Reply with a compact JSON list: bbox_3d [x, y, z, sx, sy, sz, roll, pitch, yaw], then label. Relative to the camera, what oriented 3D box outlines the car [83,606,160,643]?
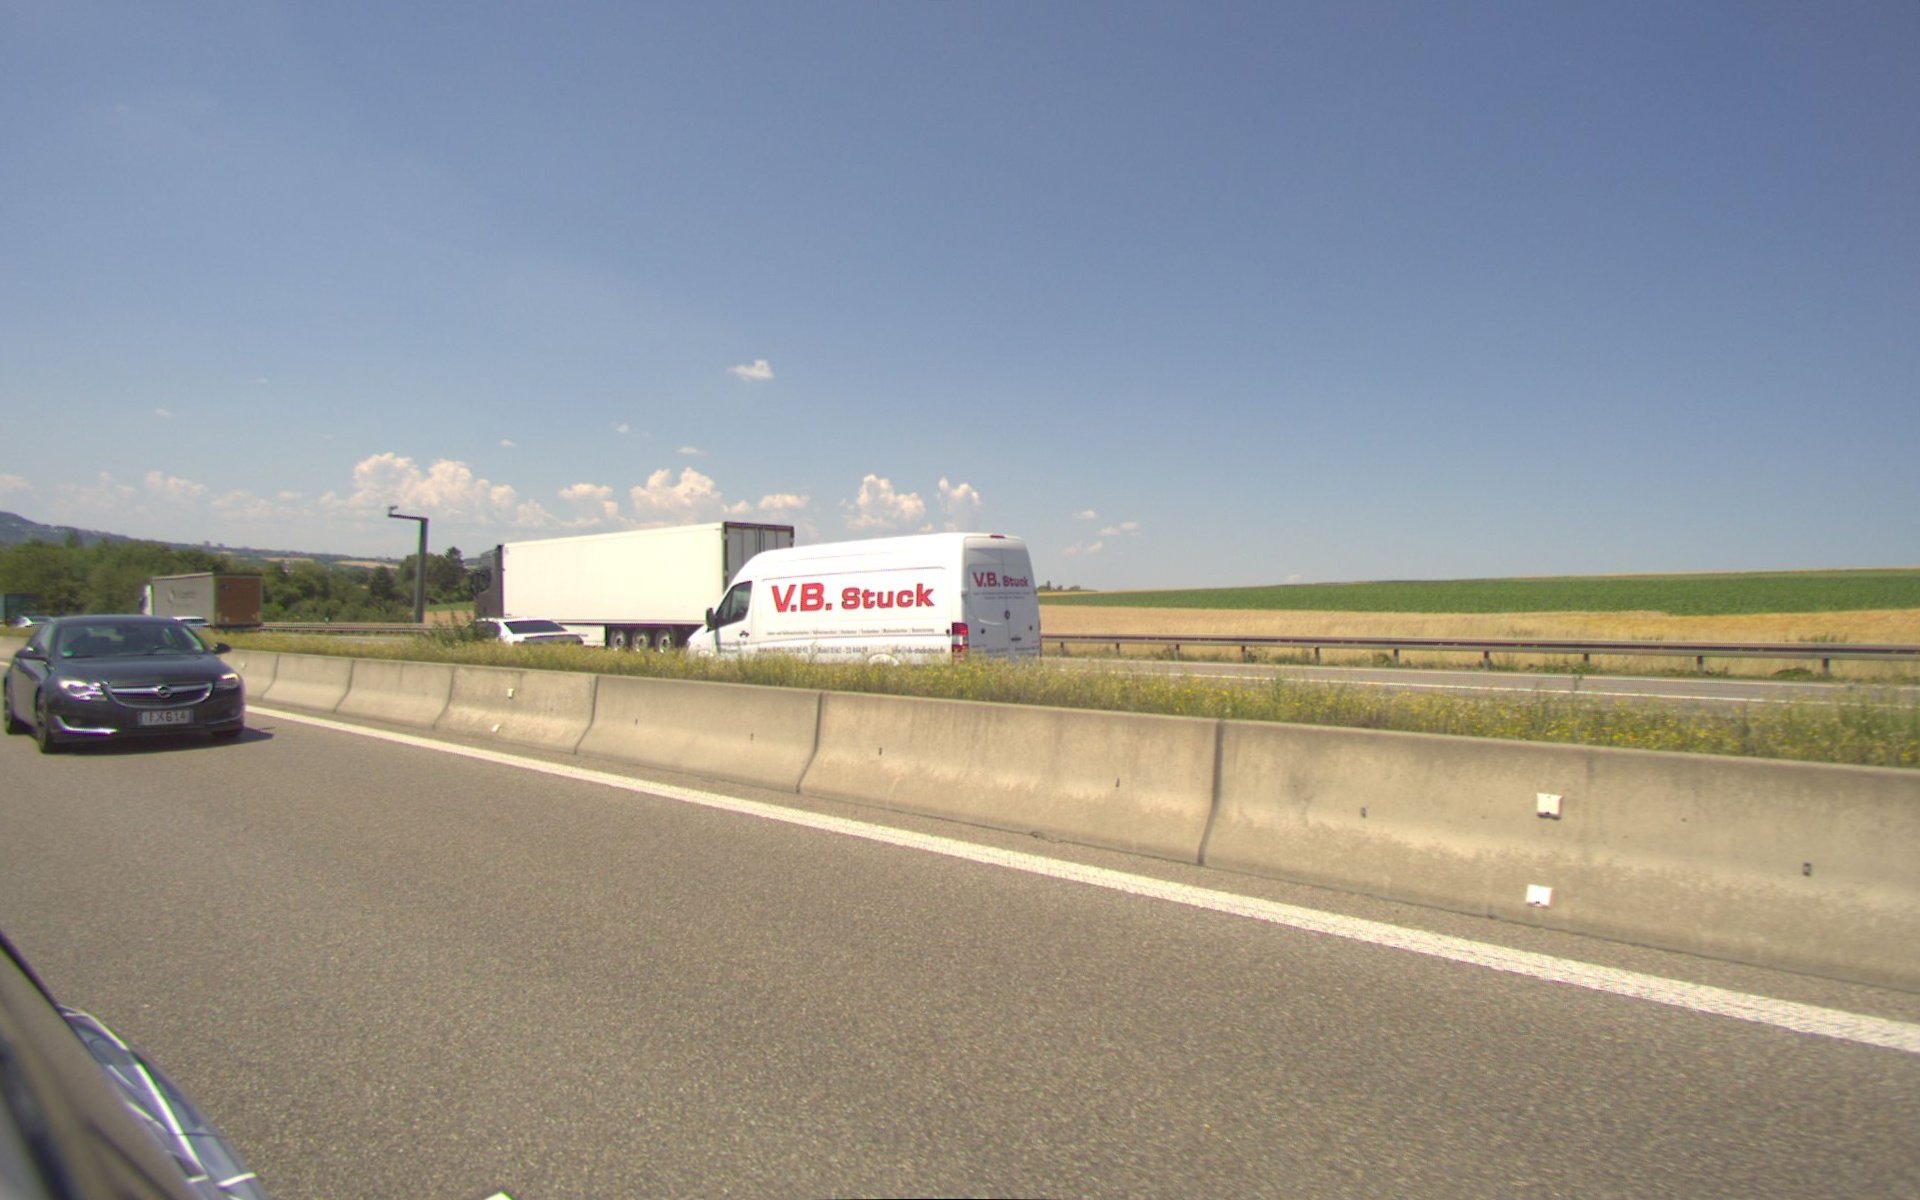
[{"bbox_3d":[-40.499,1.172,48.859,4.959,1.680,1.974,-1,-1,40],"label":"car"}]

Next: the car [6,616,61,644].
[{"bbox_3d":[-57.078,1.832,62.336,4.584,1.583,1.861,-1,-1,40],"label":"car"}]

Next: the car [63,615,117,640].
[{"bbox_3d":[-58.000,1.789,67.452,4.584,1.599,1.974,-1,-1,40],"label":"car"}]

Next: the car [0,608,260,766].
[{"bbox_3d":[-10.243,0.901,12.242,4.746,1.555,1.784,-1,-1,41],"label":"car"}]

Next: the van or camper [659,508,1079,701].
[{"bbox_3d":[-1.799,0.117,16.211,7.515,2.482,2.046,-1,-2,41],"label":"van or camper"}]

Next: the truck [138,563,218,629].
[{"bbox_3d":[-54.115,-0.249,69.996,6.142,4.360,3.101,-1,0,40],"label":"truck"}]

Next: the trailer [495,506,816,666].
[{"bbox_3d":[-10.693,-0.291,33.811,14.018,4.420,3.209,-1,-1,41],"label":"trailer"}]

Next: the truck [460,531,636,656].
[{"bbox_3d":[-15.556,-0.169,37.960,7.121,4.238,3.193,-1,-1,40],"label":"truck"}]

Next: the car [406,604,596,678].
[{"bbox_3d":[-11.206,0.930,24.470,5.664,1.599,1.907,-1,0,40],"label":"car"}]

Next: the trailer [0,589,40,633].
[{"bbox_3d":[-98.381,1.112,104.073,14.360,4.225,3.131,-1,0,38],"label":"trailer"}]

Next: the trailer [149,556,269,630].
[{"bbox_3d":[-48.978,-0.345,65.689,14.534,4.357,3.092,-1,0,40],"label":"trailer"}]

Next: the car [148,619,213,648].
[{"bbox_3d":[-42.482,1.784,55.110,4.568,1.467,1.847,-1,0,40],"label":"car"}]
